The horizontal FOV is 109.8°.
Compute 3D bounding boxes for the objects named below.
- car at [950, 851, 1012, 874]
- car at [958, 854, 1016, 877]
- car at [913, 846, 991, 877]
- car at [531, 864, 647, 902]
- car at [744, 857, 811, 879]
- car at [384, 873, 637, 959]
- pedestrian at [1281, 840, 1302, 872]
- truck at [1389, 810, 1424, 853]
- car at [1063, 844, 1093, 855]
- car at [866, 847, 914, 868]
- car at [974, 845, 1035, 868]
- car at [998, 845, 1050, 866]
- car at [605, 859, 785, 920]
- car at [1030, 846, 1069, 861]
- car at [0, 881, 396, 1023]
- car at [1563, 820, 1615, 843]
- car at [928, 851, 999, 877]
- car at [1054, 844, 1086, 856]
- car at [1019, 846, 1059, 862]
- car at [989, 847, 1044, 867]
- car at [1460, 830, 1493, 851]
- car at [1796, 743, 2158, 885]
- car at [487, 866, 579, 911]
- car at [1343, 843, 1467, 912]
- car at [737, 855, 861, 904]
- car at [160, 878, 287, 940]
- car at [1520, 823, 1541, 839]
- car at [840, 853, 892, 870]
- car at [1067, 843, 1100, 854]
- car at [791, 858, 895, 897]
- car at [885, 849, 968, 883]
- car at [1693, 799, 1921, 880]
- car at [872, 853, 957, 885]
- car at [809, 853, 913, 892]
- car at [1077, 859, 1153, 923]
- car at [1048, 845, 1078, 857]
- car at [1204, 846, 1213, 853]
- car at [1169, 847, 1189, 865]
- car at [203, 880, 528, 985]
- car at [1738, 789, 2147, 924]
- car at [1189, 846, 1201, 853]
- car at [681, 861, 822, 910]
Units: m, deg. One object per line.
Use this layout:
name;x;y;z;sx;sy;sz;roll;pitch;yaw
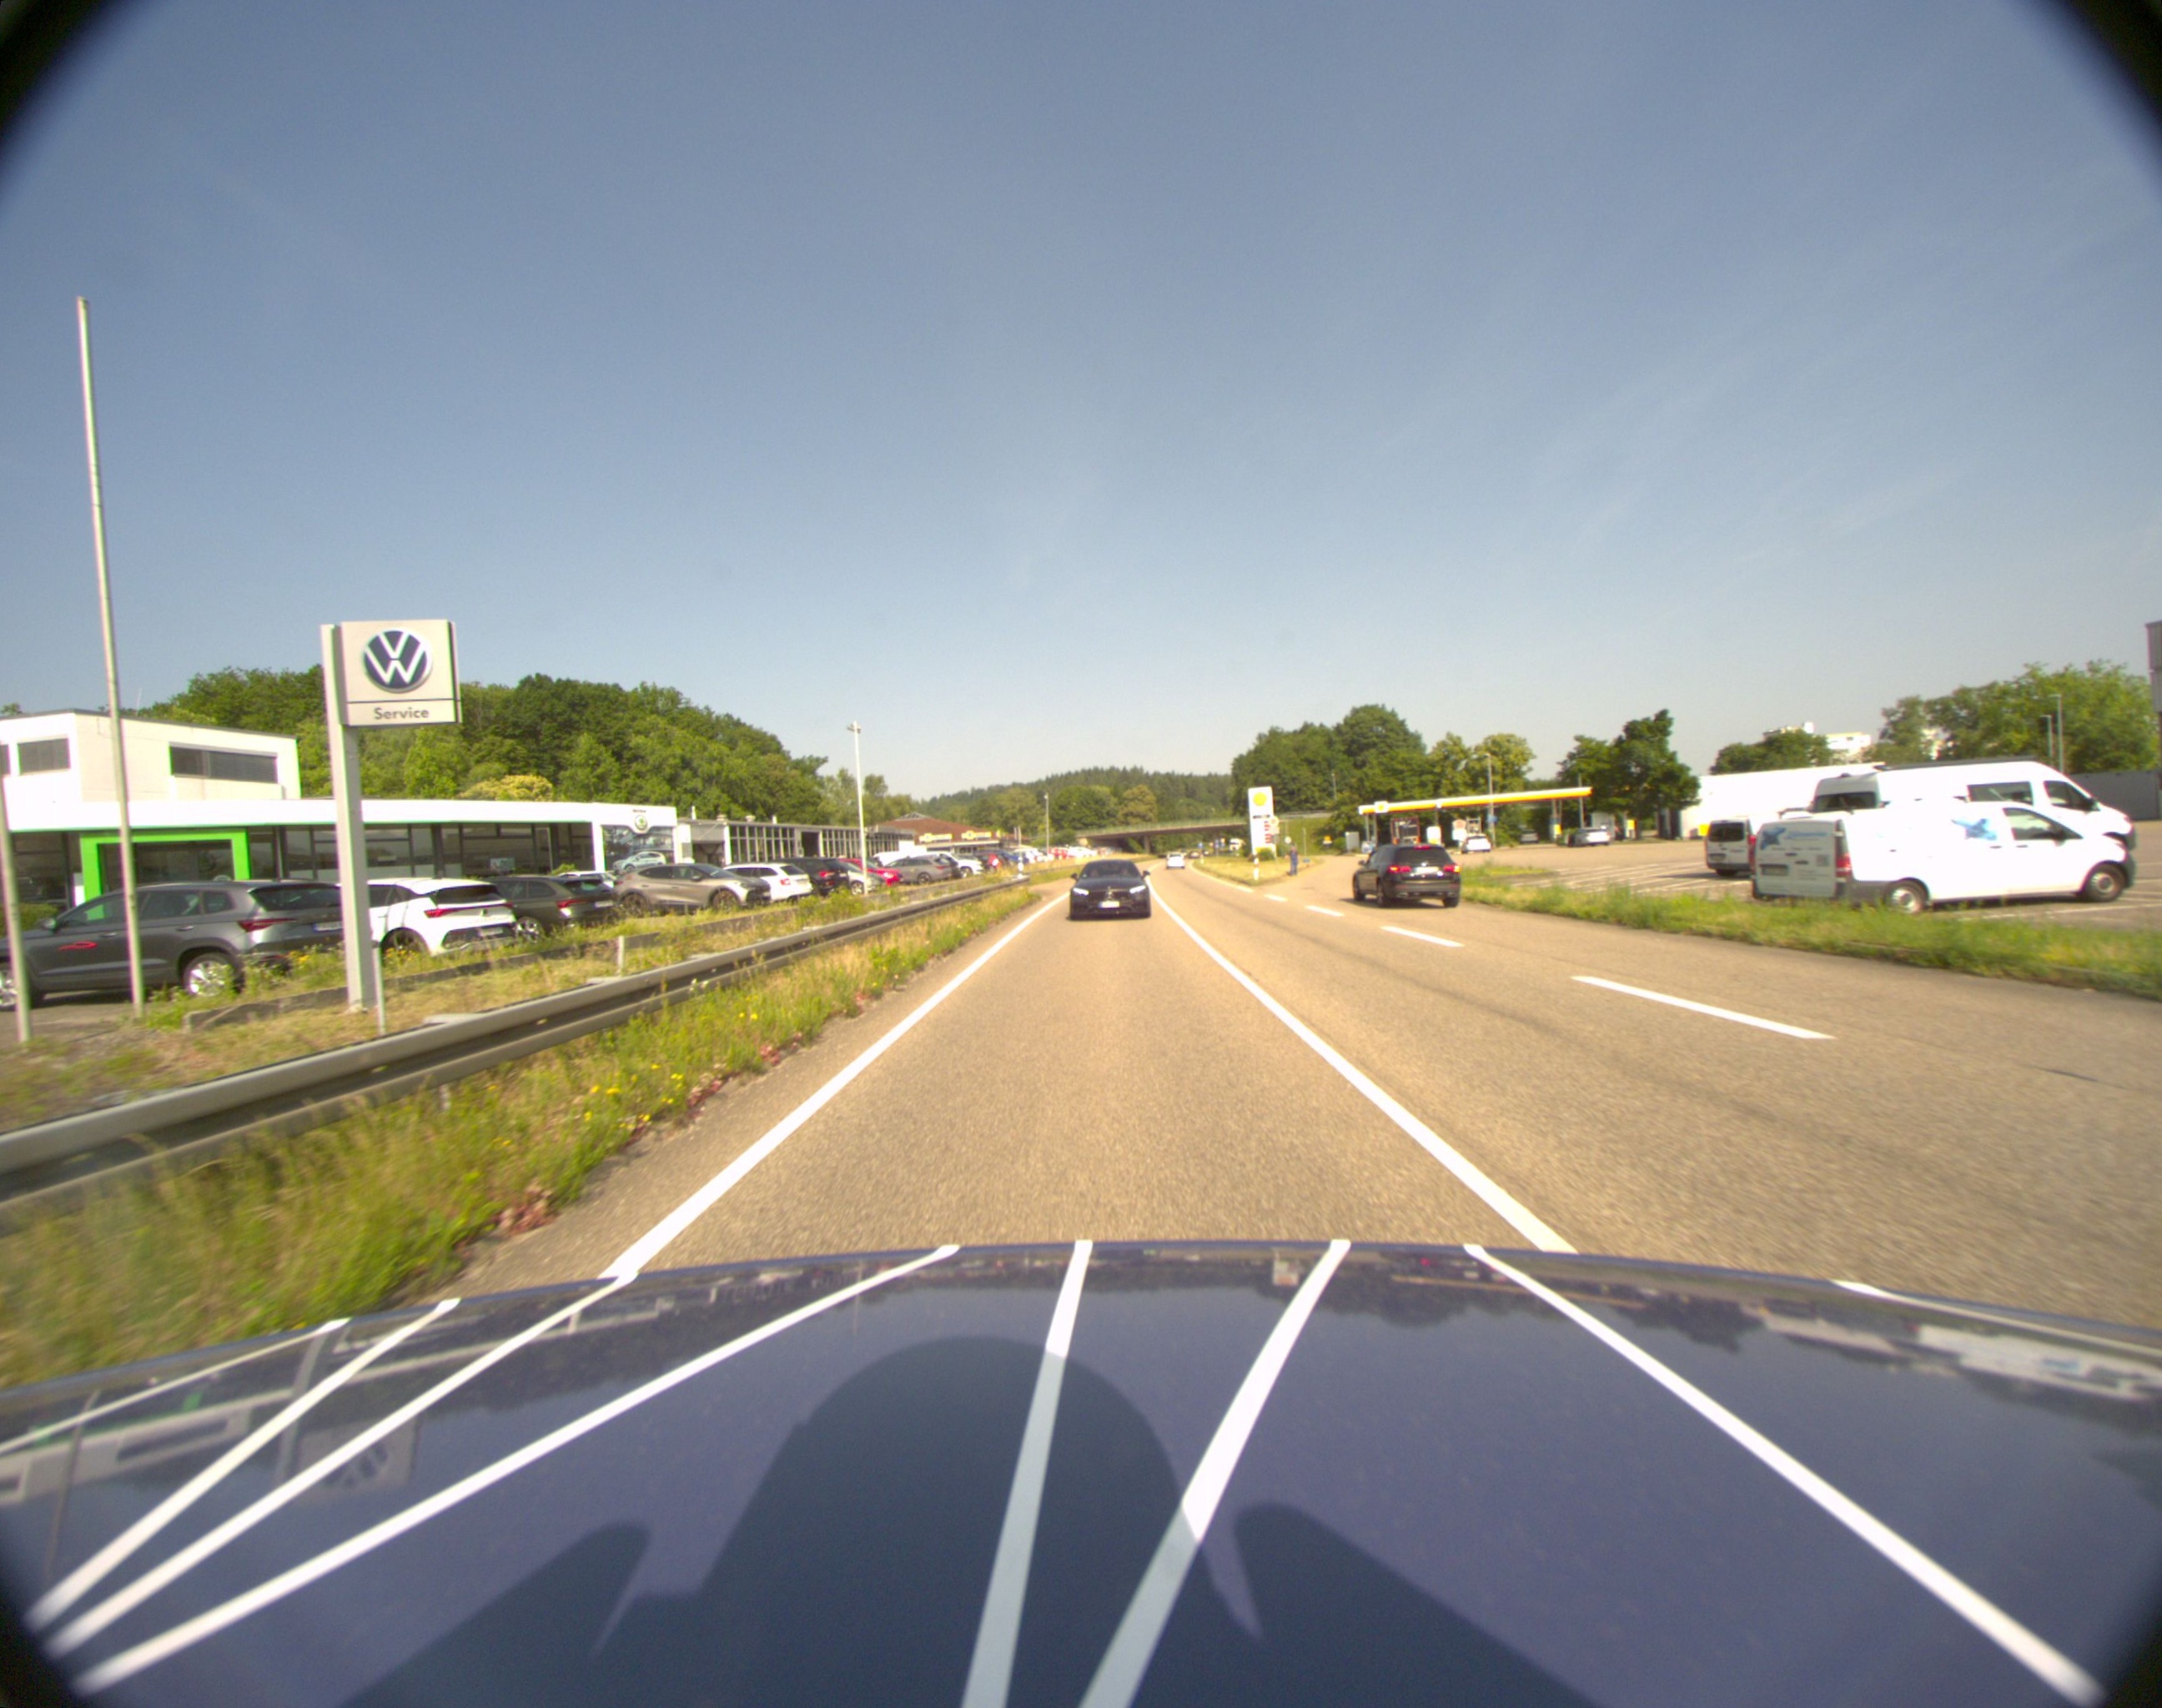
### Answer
car;-6.706;0.558;51.129;3.738;1.398;1.823;-2;1;6
car;-6.675;0.827;54.090;3.741;1.420;1.779;-2;1;6
car;-7.563;0.411;44.751;3.994;1.623;1.922;-2;1;11
car;-21.040;1.247;32.482;4.710;1.480;1.793;-1;1;24
car;-22.824;1.051;57.235;4.319;1.456;1.791;-2;1;4
car;-11.704;1.253;15.741;3.995;1.485;1.730;-2;1;5
pedestrian;11.478;0.109;41.415;0.848;1.680;1.146;-2;1;29
truck;35.917;-2.485;83.795;3.056;4.111;16.796;-2;1;23
car;-0.383;-0.678;107.416;3.994;1.456;1.878;-2;1;8
car;-19.536;0.362;77.746;4.318;1.914;1.791;-2;1;7
car;-5.981;0.197;59.761;4.364;1.630;1.951;-2;1;8
car;-4.887;0.137;65.025;4.053;1.608;1.881;-2;1;9
car;-11.578;1.042;22.995;4.457;1.591;1.855;-2;1;2
car;-3.468;-0.058;84.726;3.994;1.456;1.878;-2;1;8
car;-12.526;1.308;10.678;4.087;1.600;1.792;-2;1;0
car;37.953;-1.662;56.878;1.718;1.557;4.662;-3;0;14
car;-7.418;0.612;48.196;3.995;1.444;1.951;-2;1;6
car;-1.415;-0.483;101.094;3.994;1.456;1.878;-2;1;8
car;-4.468;-0.029;81.678;3.994;1.543;1.807;-2;1;8
car;-5.232;0.251;61.967;4.046;1.499;1.807;-2;1;9
car;31.416;-1.051;60.450;1.717;1.557;4.664;-3;0;20
car;21.264;-0.902;18.278;5.734;2.729;2.285;-5;1;2
car;-21.518;1.307;29.764;4.344;1.556;1.794;-1;1;39
car;8.562;0.541;20.516;1.815;1.620;4.543;-1;0;6
car;-10.490;0.921;28.424;3.885;1.654;1.841;-2;1;10
car;-26.074;1.584;23.267;1.794;1.556;4.344;-3;1;-39
car;49.680;-2.550;84.081;1.905;1.633;4.007;-3;0;30
car;-20.403;0.715;72.223;4.319;1.456;1.791;-2;1;5
car;0.431;-0.759;111.196;4.569;1.456;1.878;-2;1;8
car;-9.915;0.980;31.789;3.739;1.450;1.665;-2;1;7
car;-8.430;0.635;41.675;3.995;1.623;1.922;-2;1;8
car;20.448;-0.404;21.552;4.456;1.829;1.987;-5;1;0
car;-8.503;0.760;38.912;3.846;1.450;1.746;-2;1;5
car;-9.903;0.824;34.374;4.091;1.543;1.782;-2;1;7
car;0.873;0.866;19.499;1.716;1.382;4.148;-1;0;3
car;-2.319;-0.440;98.660;3.544;1.456;1.806;-2;1;8
car;28.165;-1.044;168.378;1.680;1.348;3.926;-1;0;13
car;8.852;0.157;68.717;1.680;1.464;3.709;-1;0;9
car;-12.322;1.312;13.267;3.996;1.485;1.791;-2;1;3
car;14.940;0.048;13.431;4.682;1.847;2.143;-4;0;0
car;20.617;-0.805;137.625;1.807;1.166;4.101;-1;0;5
car;-11.128;1.055;25.736;4.042;1.477;1.724;-2;1;10
